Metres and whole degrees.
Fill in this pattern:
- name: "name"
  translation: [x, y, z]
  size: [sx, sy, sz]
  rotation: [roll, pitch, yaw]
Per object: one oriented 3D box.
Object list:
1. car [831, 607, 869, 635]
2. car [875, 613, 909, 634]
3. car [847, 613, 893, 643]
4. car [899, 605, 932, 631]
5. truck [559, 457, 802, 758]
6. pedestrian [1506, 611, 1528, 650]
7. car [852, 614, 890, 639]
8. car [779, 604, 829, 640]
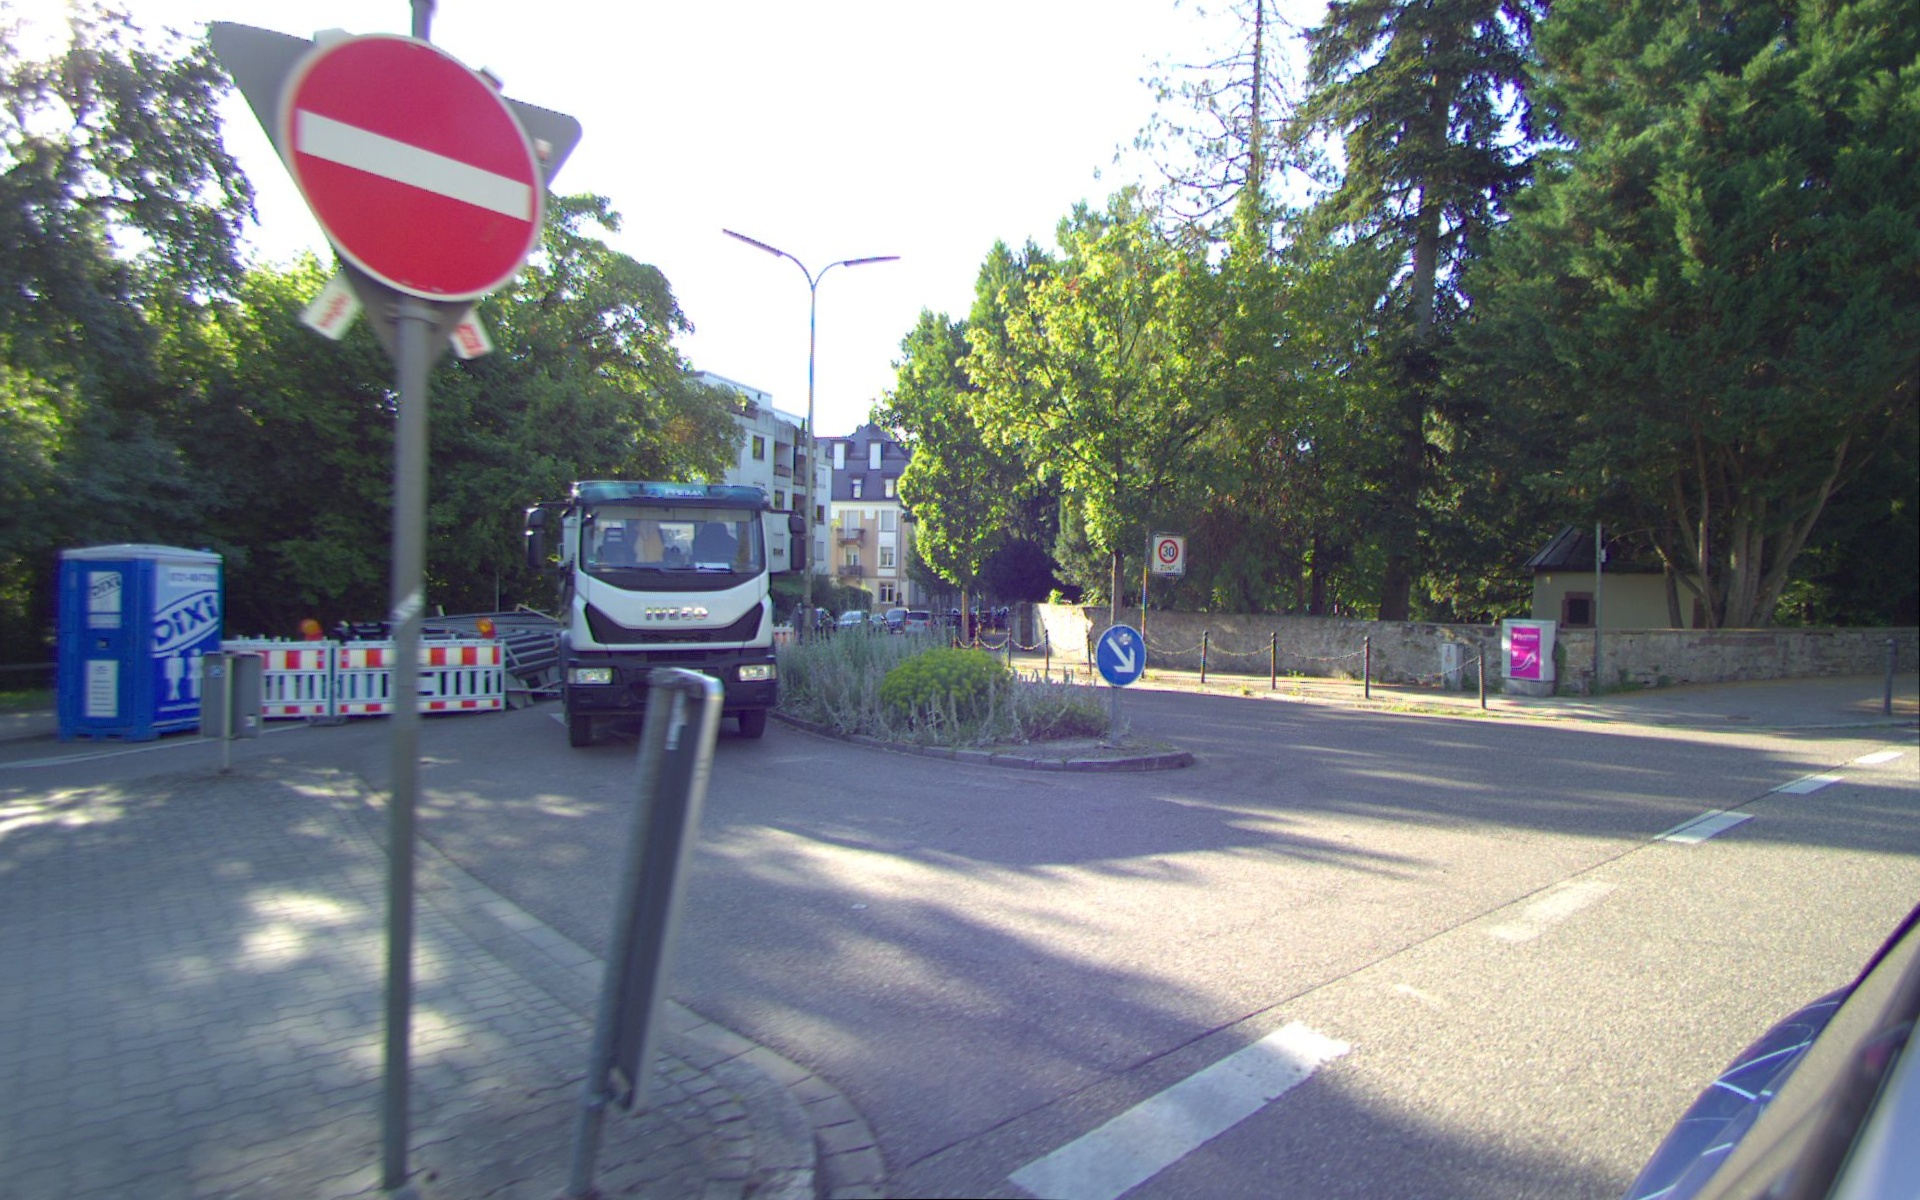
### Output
- name: "car"
  translation: [-6.236, 1.155, 57.628]
  size: [1.803, 1.542, 3.914]
  rotation: [0, -1, -1]
- name: "car"
  translation: [-4.871, 1.693, 73.063]
  size: [1.725, 1.429, 3.589]
  rotation: [0, 0, 8]
- name: "car"
  translation: [-4.647, 1.429, 52.572]
  size: [1.724, 1.429, 3.592]
  rotation: [0, 0, 6]
- name: "car"
  translation: [-2.631, 1.053, 60.513]
  size: [1.803, 1.542, 3.914]
  rotation: [0, -1, -1]
- name: "truck"
  translation: [-3.958, 0.108, 13.401]
  size: [2.382, 2.932, 6.621]
  rotation: [0, -1, -21]
- name: "pedestrian"
  translation: [25.133, 1.365, 45.688]
  size: [0.586, 1.752, 0.592]
  rotation: [0, -2, -24]
- name: "car"
  translation: [-5.509, 1.617, 62.954]
  size: [1.724, 1.429, 3.592]
  rotation: [0, 0, 6]
- name: "car"
  translation: [-7.175, 0.996, 46.829]
  size: [1.803, 1.605, 4.023]
  rotation: [0, -1, -2]
